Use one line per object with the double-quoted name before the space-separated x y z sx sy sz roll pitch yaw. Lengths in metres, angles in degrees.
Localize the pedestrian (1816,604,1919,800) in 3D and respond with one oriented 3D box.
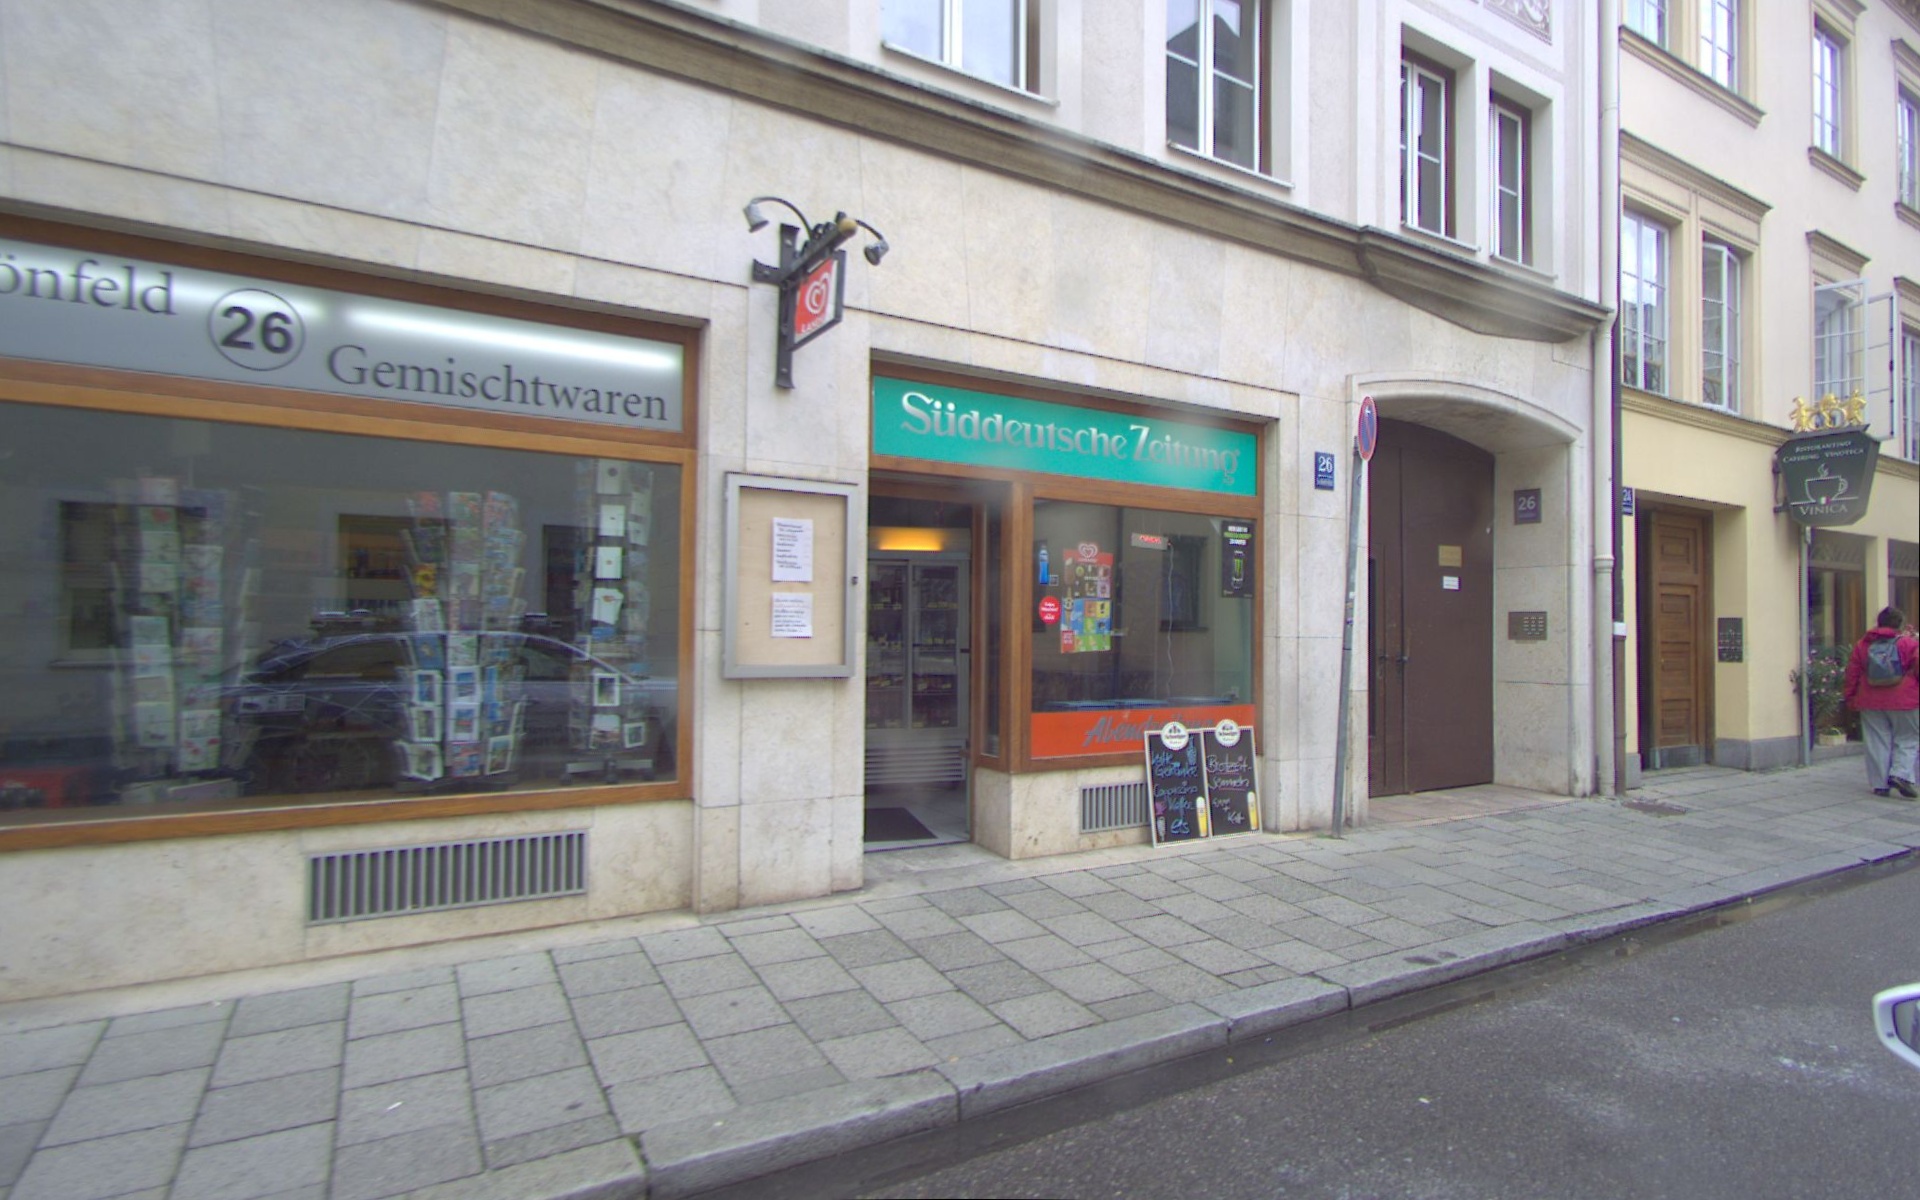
"pedestrian" 8.620 0.918 9.362 0.777 1.731 0.761 1 -2 -32
